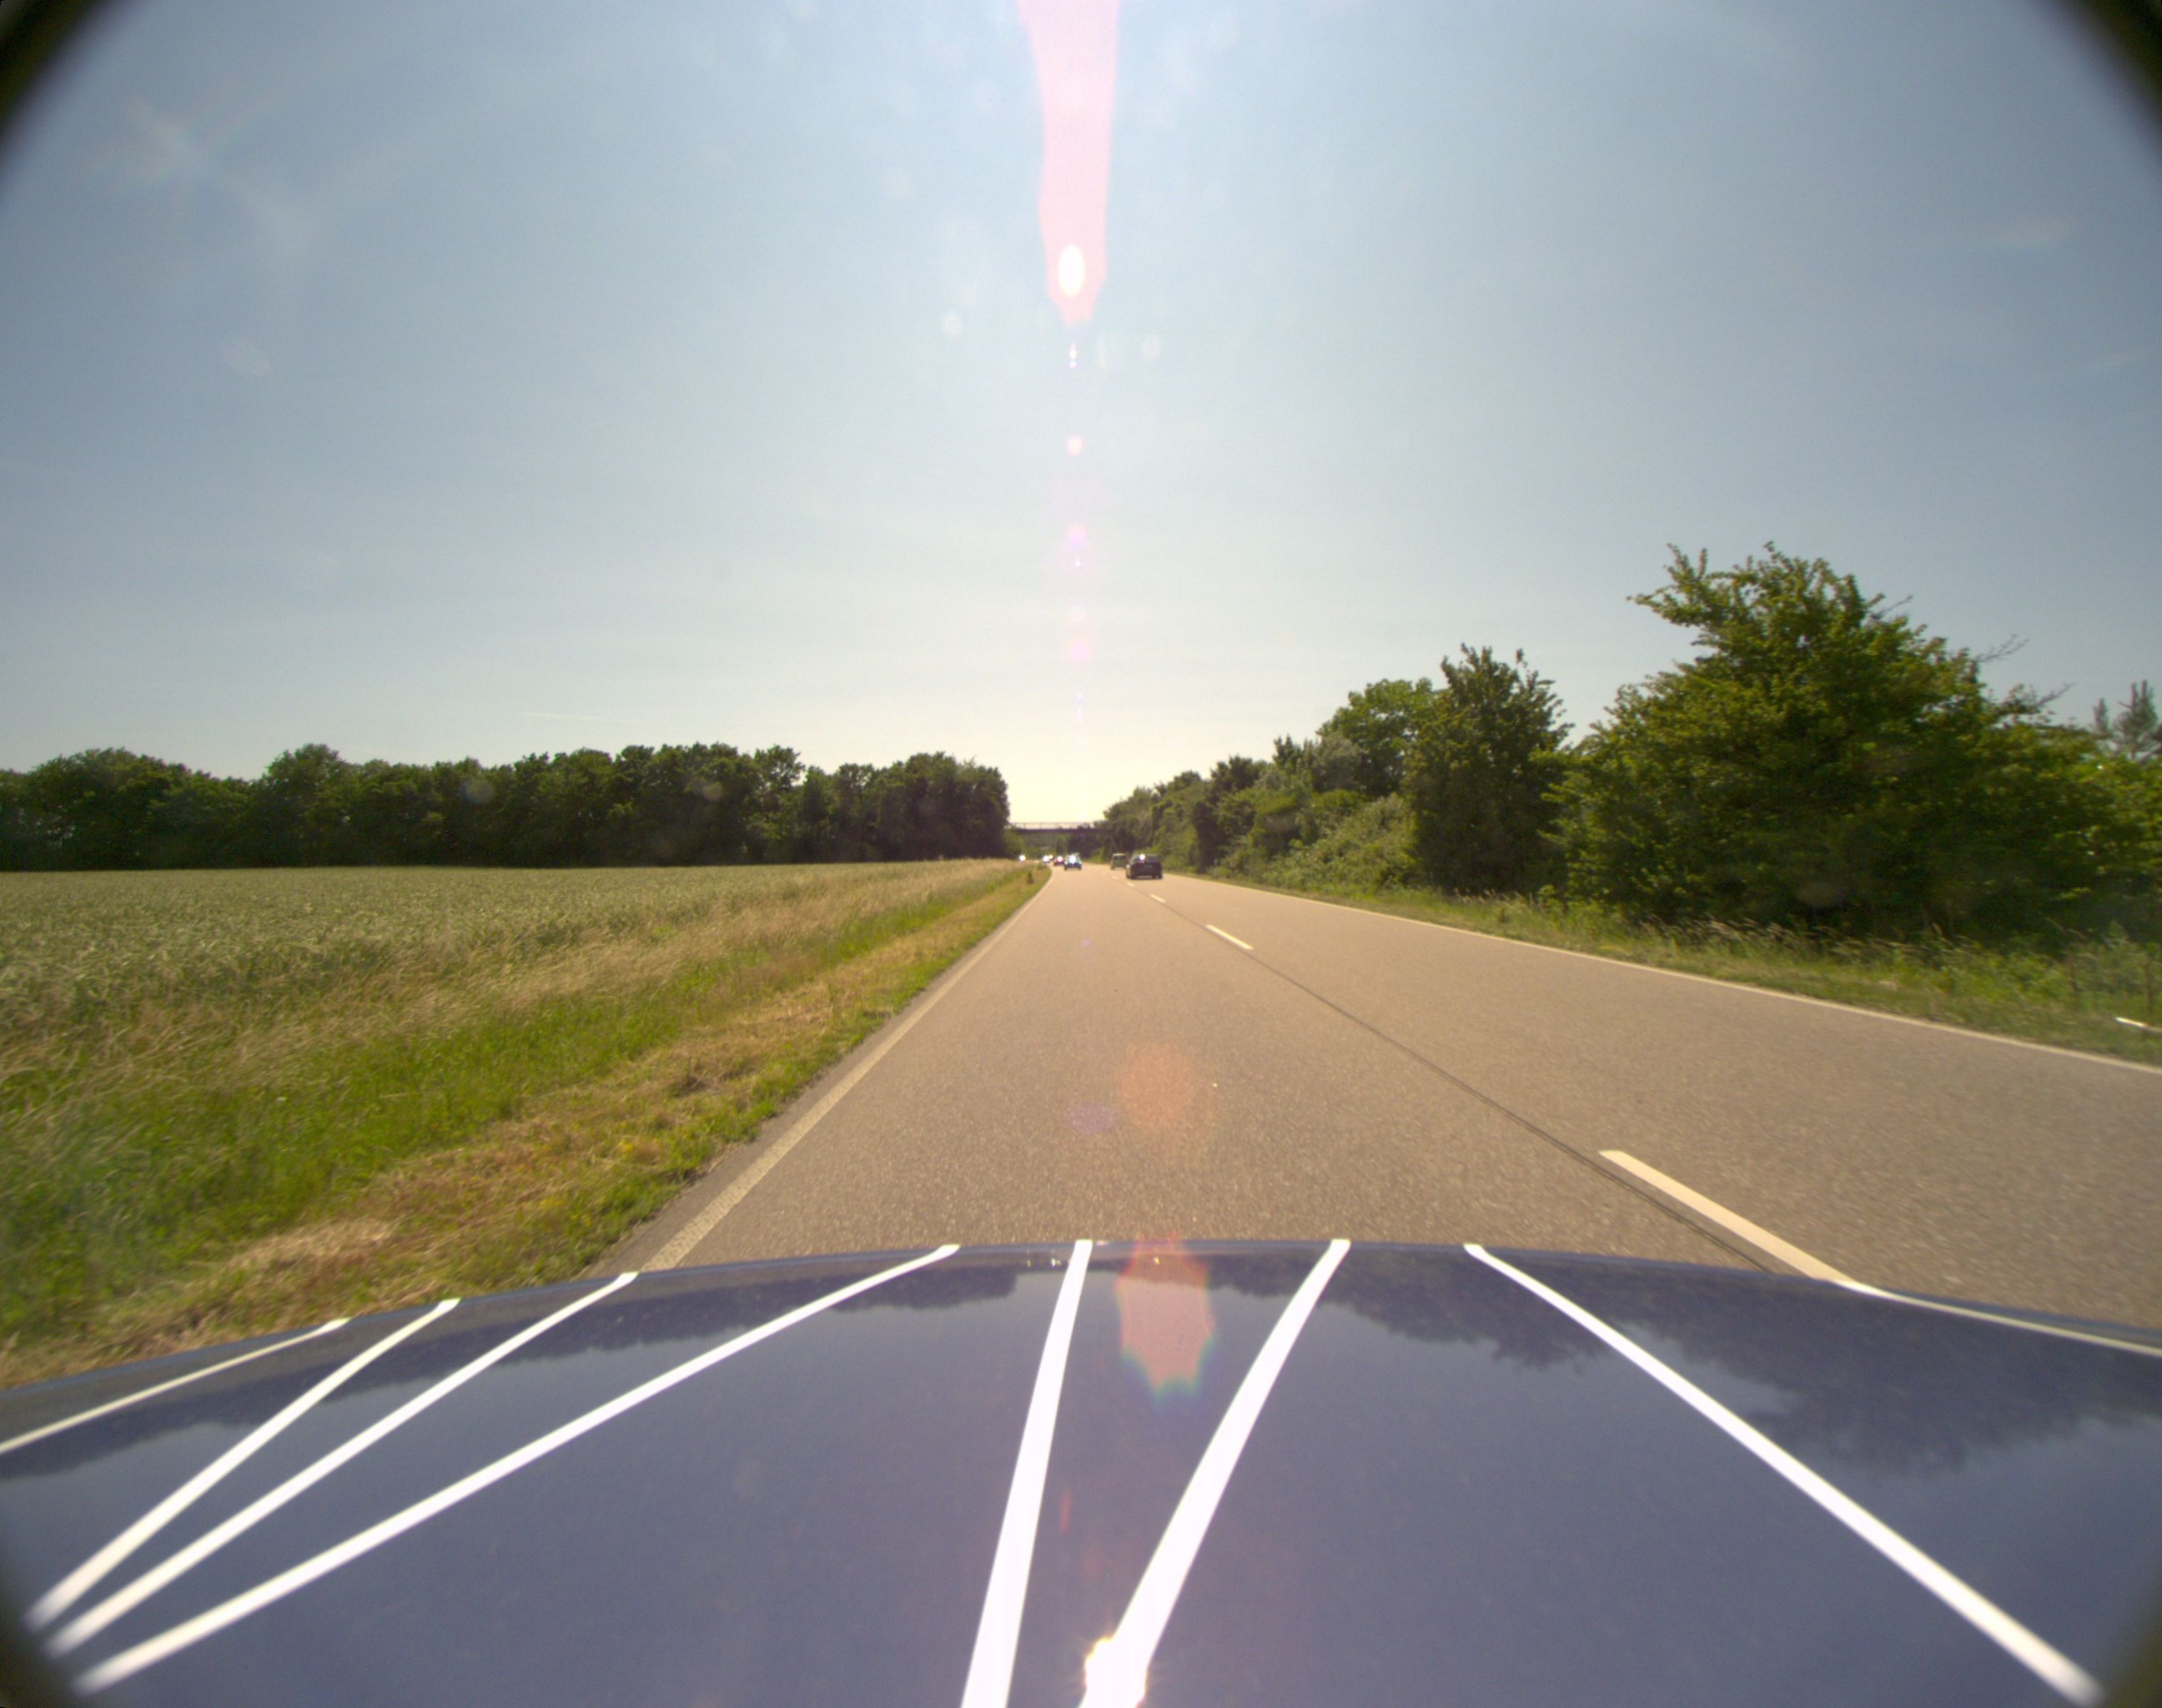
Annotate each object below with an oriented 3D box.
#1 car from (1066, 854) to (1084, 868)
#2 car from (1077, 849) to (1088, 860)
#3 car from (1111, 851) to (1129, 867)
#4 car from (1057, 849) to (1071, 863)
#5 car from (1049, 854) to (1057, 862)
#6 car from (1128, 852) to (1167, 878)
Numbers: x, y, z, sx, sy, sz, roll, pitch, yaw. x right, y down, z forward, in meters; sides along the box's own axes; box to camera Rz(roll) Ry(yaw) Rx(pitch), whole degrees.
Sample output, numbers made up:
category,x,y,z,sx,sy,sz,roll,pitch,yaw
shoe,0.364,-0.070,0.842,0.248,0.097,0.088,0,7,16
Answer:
category,x,y,z,sx,sy,sz,roll,pitch,yaw
car,-0.686,0.703,80.306,1.694,1.431,3.709,-2,0,-4
car,0.303,0.072,136.284,1.767,1.808,4.802,-2,0,-2
car,3.859,0.471,75.479,1.500,1.487,3.832,-2,0,0
car,-2.685,0.331,118.061,1.999,2.002,3.998,-2,0,-4
car,-6.024,0.895,164.224,1.553,1.659,3.999,-3,1,0
car,3.924,0.612,45.618,1.805,1.442,4.532,-2,0,-1
